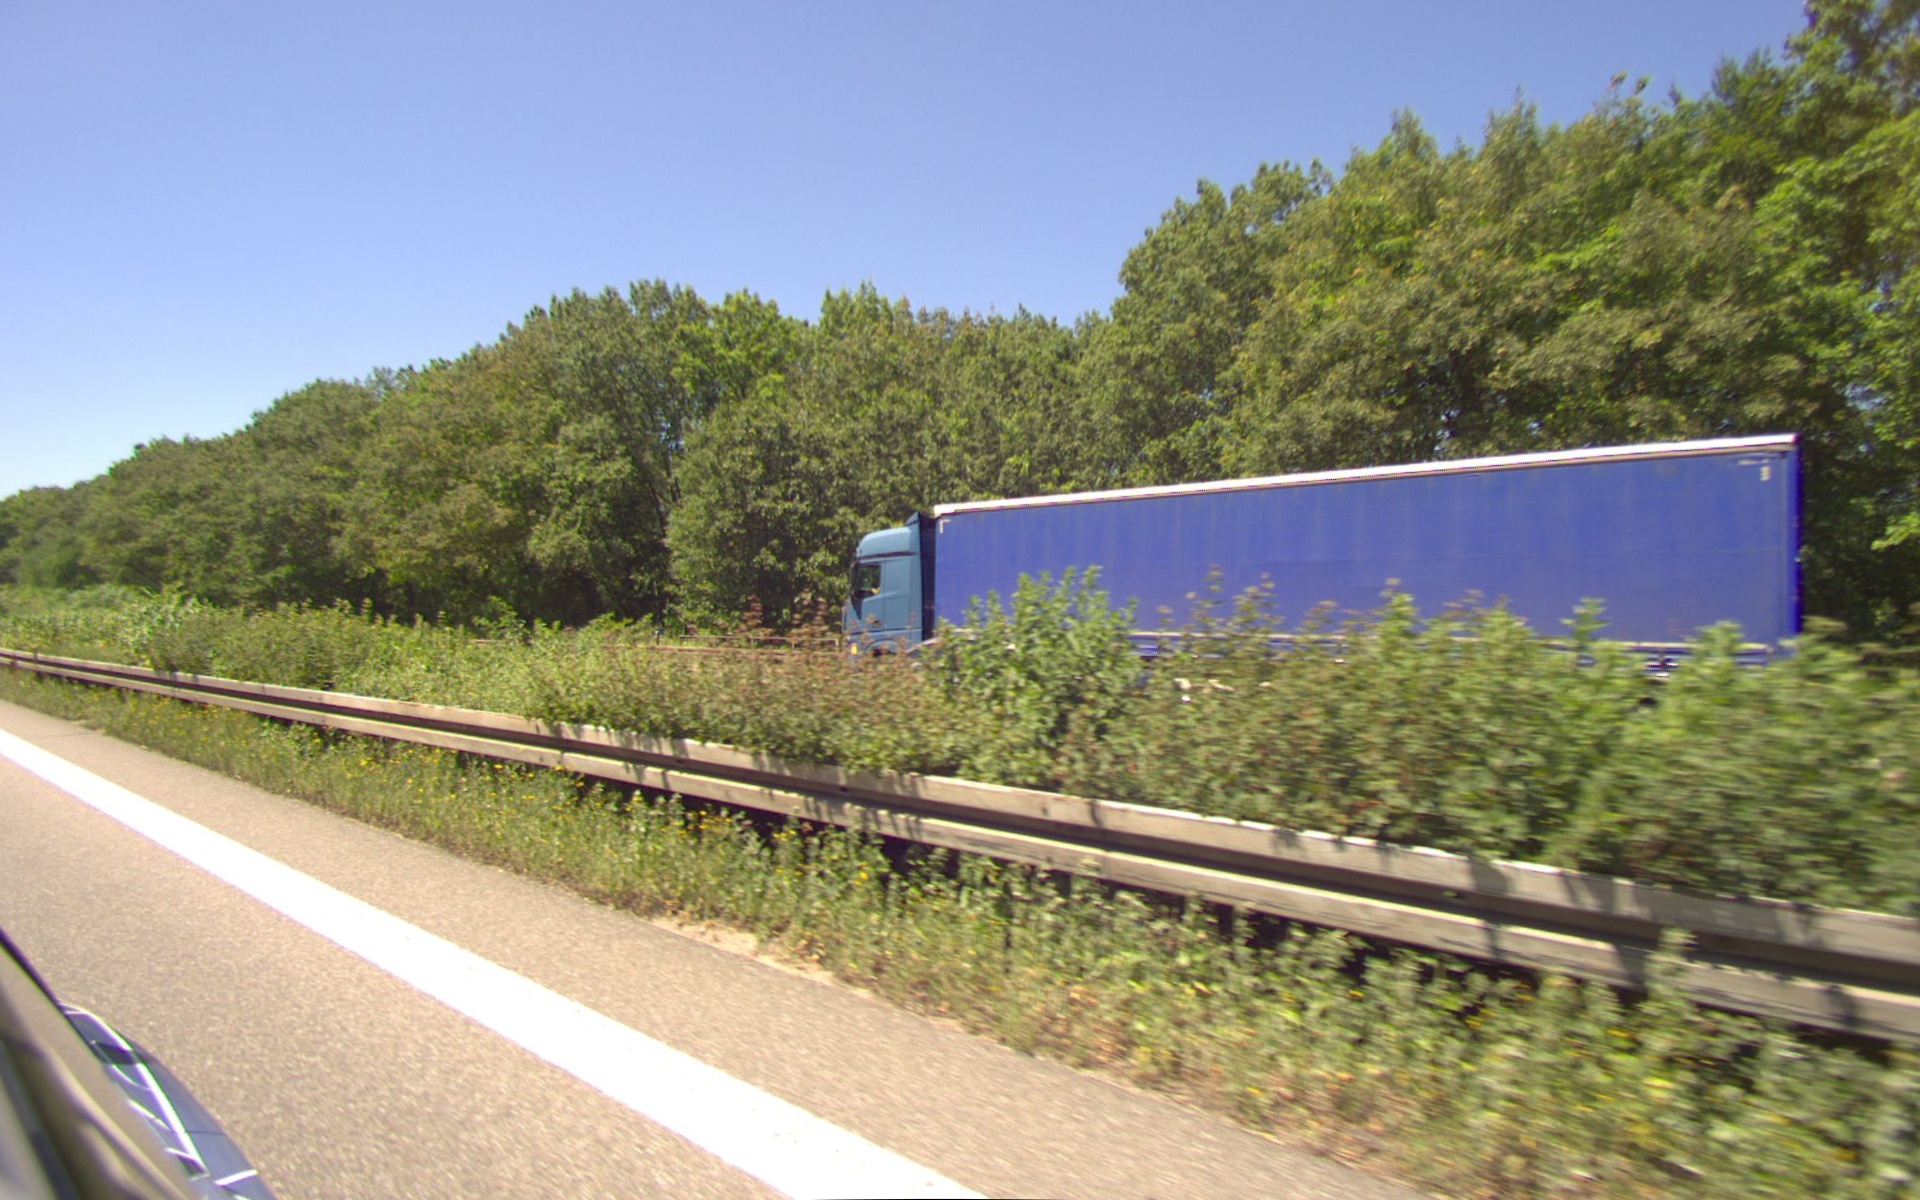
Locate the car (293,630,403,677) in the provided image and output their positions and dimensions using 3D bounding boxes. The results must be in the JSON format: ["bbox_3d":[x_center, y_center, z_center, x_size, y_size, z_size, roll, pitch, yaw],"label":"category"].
[{"bbox_3d":[-20.135,1.712,33.239,4.337,1.426,1.692,-1,-2,38],"label":"car"}]

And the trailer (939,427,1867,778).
[{"bbox_3d":[5.807,0.129,16.987,13.792,4.001,2.815,-1,-2,39],"label":"trailer"}]

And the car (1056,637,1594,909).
[{"bbox_3d":[2.962,1.219,8.678,3.996,1.733,1.758,-1,-2,40],"label":"car"}]

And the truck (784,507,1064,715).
[{"bbox_3d":[-0.901,0.264,22.461,5.866,4.001,2.789,-1,-2,39],"label":"truck"}]
